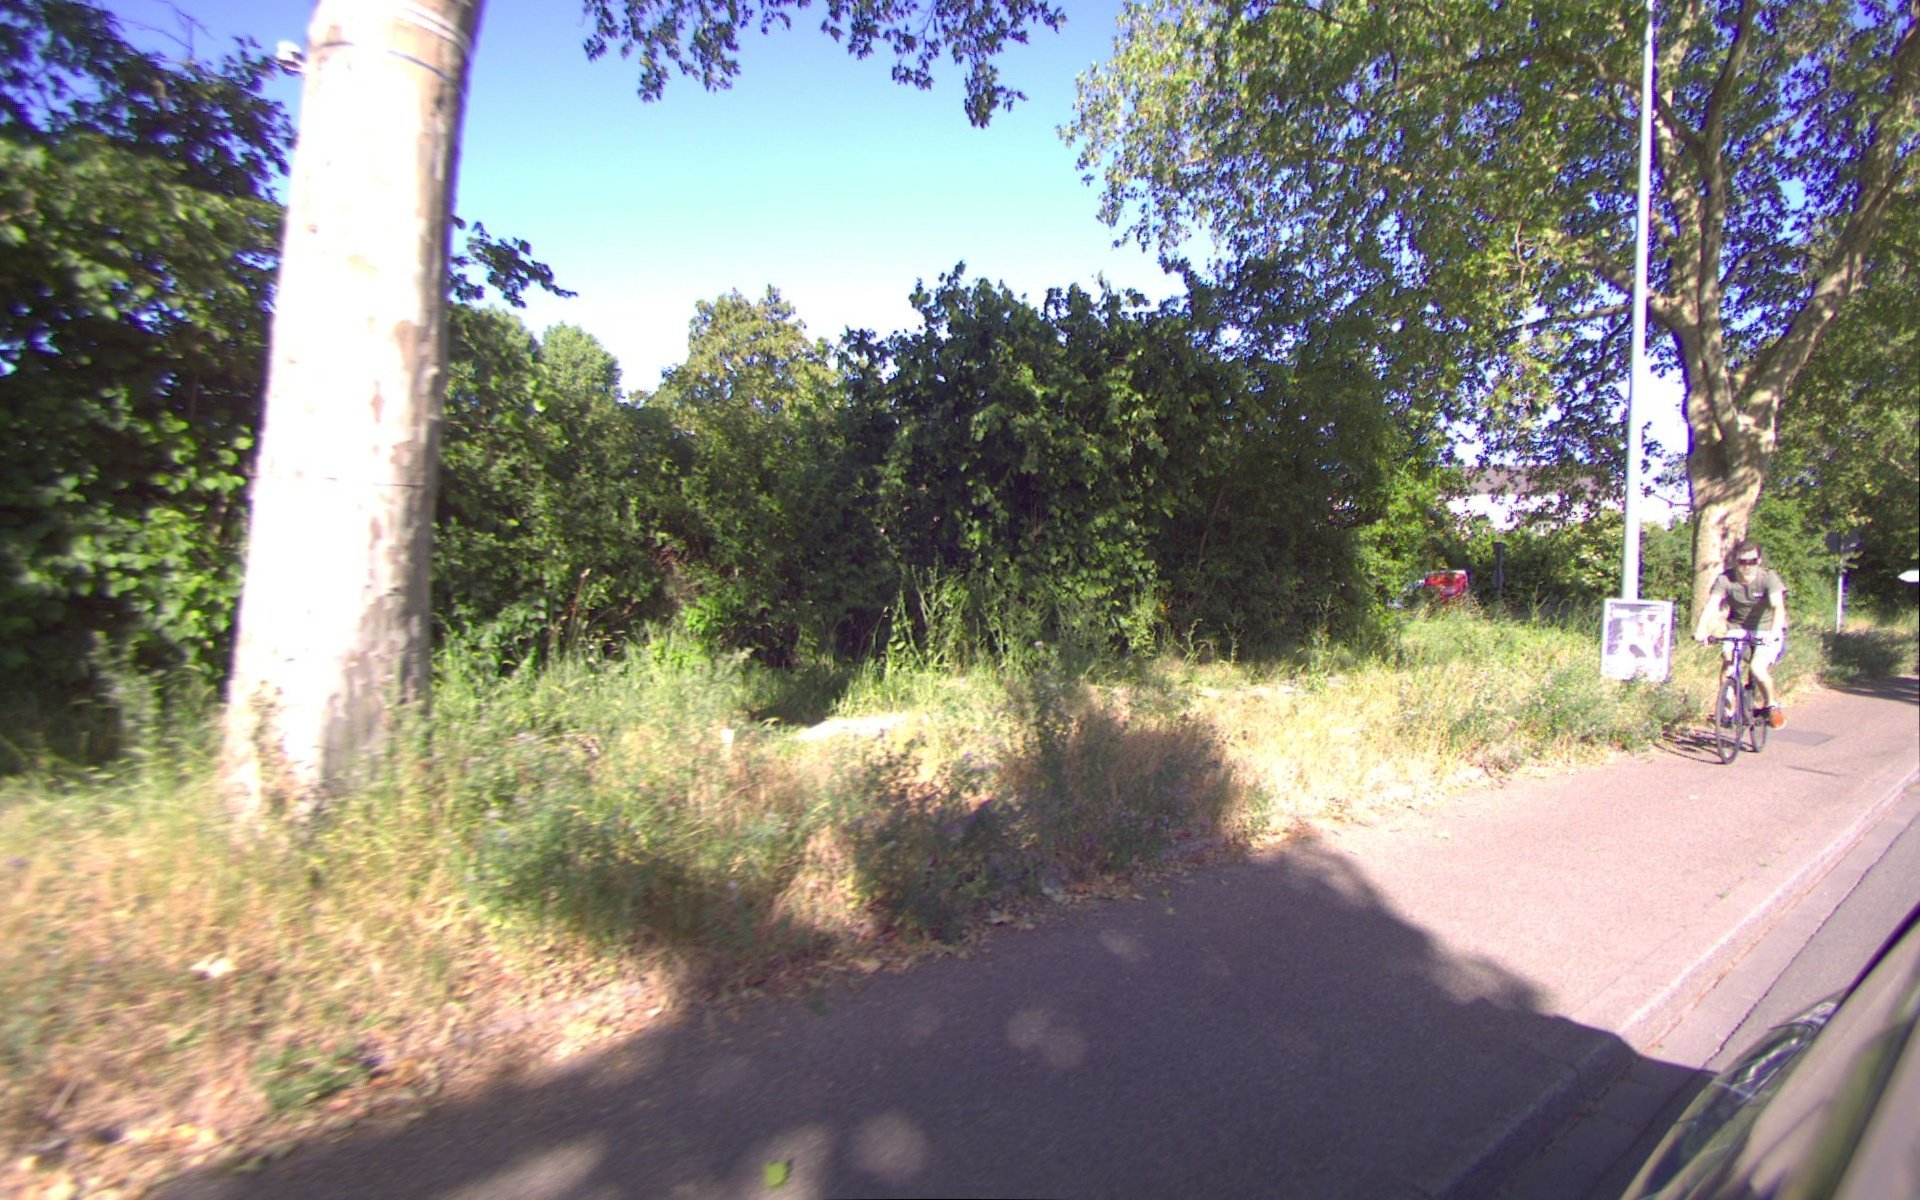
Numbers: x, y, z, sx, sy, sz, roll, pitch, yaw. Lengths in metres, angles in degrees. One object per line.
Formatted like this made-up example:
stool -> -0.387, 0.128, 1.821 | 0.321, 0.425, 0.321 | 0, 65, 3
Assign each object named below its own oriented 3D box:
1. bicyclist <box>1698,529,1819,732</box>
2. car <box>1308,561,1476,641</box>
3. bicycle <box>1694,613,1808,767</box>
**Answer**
bicyclist -> 6.921, 0.236, 8.766 | 0.893, 1.649, 0.614 | 1, 2, -41
car -> 14.233, -0.016, 33.456 | 4.950, 2.469, 2.309 | 1, 0, 26
bicycle -> 6.858, 0.721, 8.743 | 1.791, 1.167, 0.441 | 0, 1, -41
